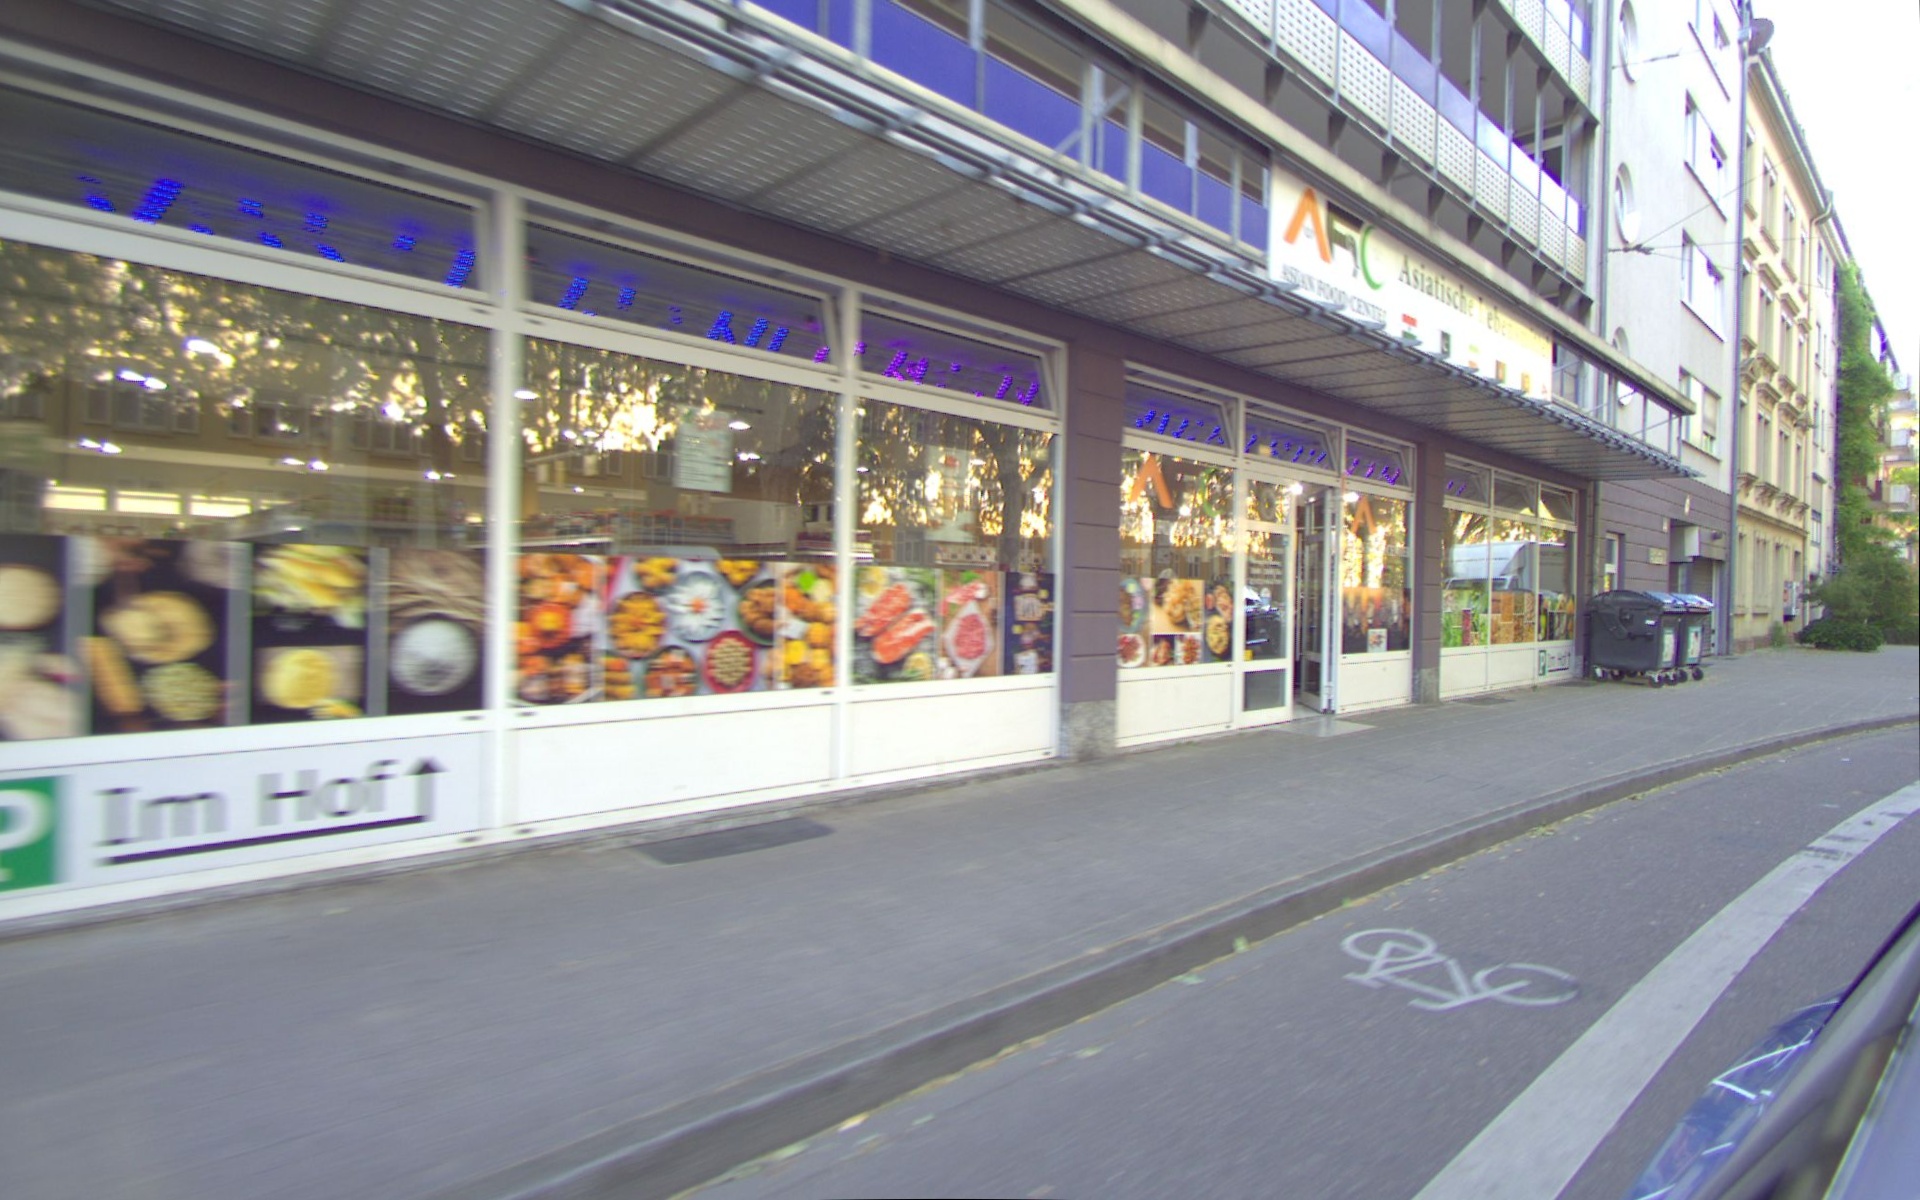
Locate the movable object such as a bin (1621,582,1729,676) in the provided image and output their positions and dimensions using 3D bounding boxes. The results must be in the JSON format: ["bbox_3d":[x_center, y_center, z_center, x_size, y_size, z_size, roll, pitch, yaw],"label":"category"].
[{"bbox_3d":[11.887,0.452,16.831,1.282,1.464,1.123,0,1,-37],"label":"movable object such as a bin"}]

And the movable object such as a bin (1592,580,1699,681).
[{"bbox_3d":[10.531,0.435,15.551,1.274,1.465,1.068,0,1,-42],"label":"movable object such as a bin"}]
